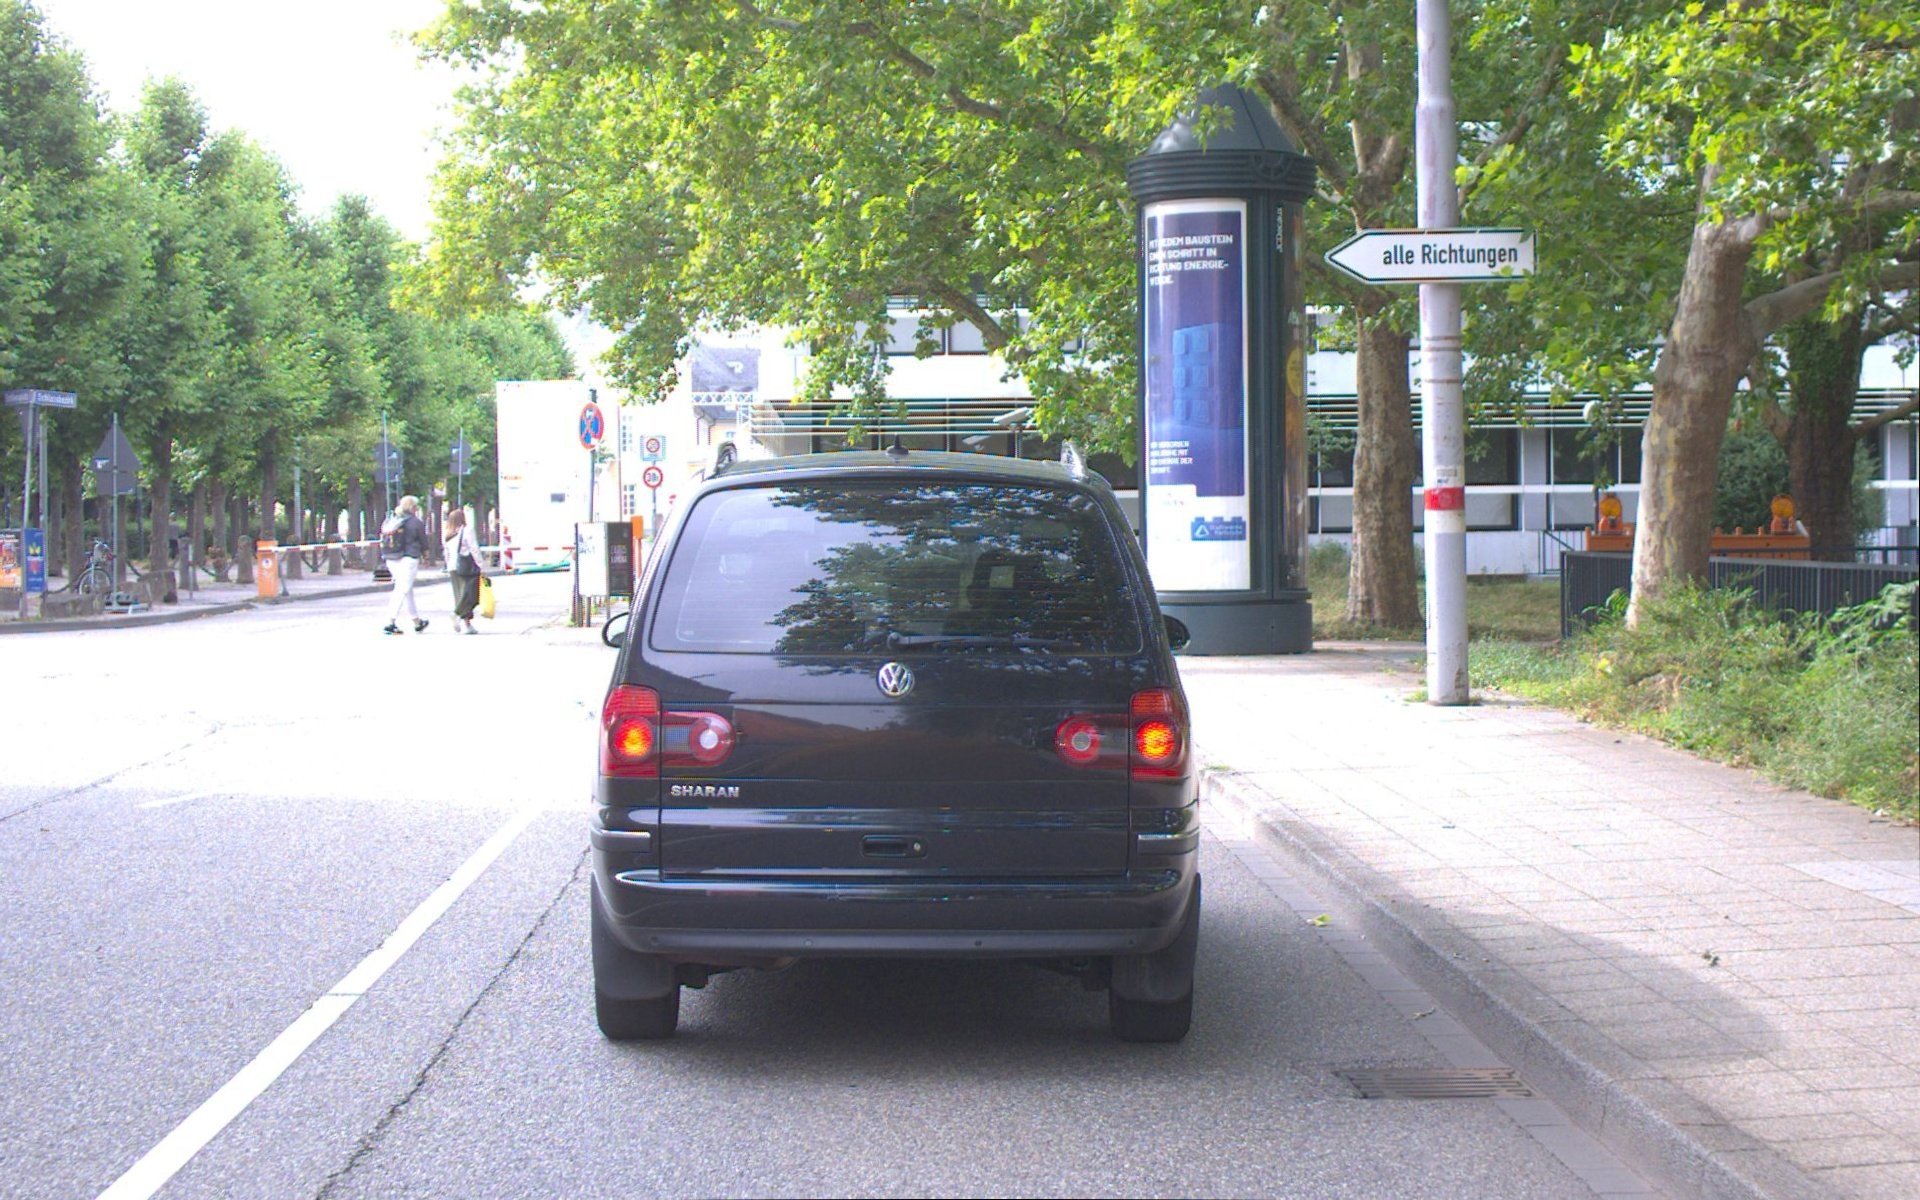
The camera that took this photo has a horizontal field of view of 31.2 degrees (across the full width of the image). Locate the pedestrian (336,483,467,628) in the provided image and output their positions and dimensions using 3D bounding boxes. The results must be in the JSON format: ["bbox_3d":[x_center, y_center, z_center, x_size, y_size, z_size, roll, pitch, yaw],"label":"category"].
[{"bbox_3d":[-6.868,-0.556,42.307,0.962,1.735,1.253,2,2,37],"label":"pedestrian"}]

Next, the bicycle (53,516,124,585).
[{"bbox_3d":[-14.813,-0.854,58.410,0.952,1.106,2.580,1,2,-19],"label":"bicycle"}]

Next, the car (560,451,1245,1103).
[{"bbox_3d":[-0.222,0.406,11.166,1.793,1.702,4.132,-1,2,-2],"label":"car"}]

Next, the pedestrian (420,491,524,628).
[{"bbox_3d":[-5.953,-0.500,41.973,0.898,1.635,0.851,2,2,34],"label":"pedestrian"}]
